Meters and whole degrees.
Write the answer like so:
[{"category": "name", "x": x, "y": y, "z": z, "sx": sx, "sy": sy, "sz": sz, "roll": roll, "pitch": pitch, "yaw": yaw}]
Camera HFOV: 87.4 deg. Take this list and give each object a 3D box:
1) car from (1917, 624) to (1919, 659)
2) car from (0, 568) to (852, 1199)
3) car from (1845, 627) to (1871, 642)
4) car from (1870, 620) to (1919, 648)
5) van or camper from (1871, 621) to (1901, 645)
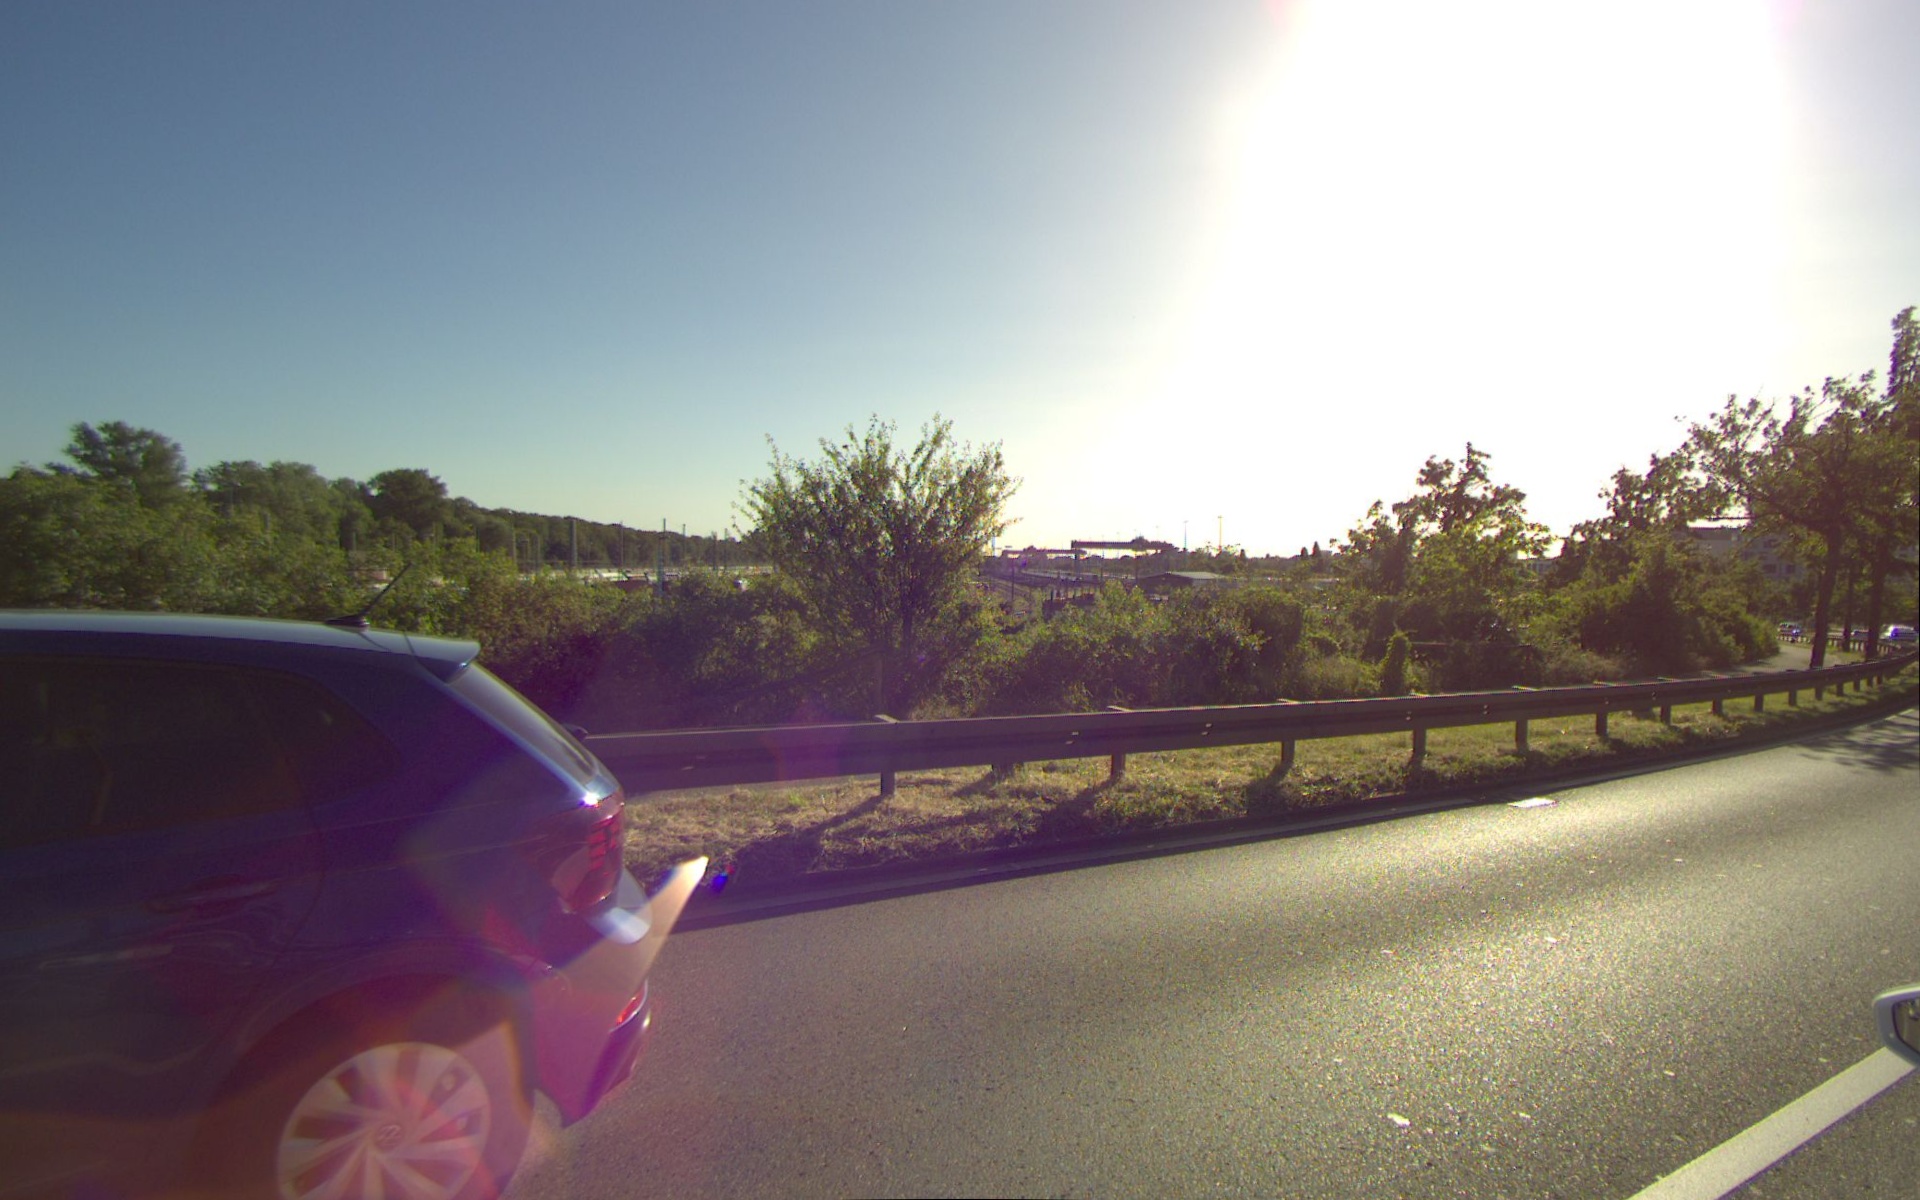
[{"category": "car", "x": 42.057, "y": 1.802, "z": 42.718, "sx": 1.675, "sy": 1.538, "sz": 3.962, "roll": 1, "pitch": 0, "yaw": 40}, {"category": "car", "x": -2.415, "y": 0.662, "z": 2.390, "sx": 3.955, "sy": 1.470, "sz": 1.670, "roll": 2, "pitch": 0, "yaw": -31}, {"category": "car", "x": 99.303, "y": 3.843, "z": 111.104, "sx": 1.787, "sy": 1.575, "sz": 4.123, "roll": 1, "pitch": 0, "yaw": 38}, {"category": "car", "x": 67.776, "y": 2.429, "z": 72.794, "sx": 1.883, "sy": 1.826, "sz": 4.119, "roll": 4, "pitch": 2, "yaw": 31}, {"category": "van or camper", "x": 82.899, "y": 2.914, "z": 89.882, "sx": 1.806, "sy": 1.815, "sz": 4.517, "roll": 5, "pitch": 4, "yaw": 43}]
